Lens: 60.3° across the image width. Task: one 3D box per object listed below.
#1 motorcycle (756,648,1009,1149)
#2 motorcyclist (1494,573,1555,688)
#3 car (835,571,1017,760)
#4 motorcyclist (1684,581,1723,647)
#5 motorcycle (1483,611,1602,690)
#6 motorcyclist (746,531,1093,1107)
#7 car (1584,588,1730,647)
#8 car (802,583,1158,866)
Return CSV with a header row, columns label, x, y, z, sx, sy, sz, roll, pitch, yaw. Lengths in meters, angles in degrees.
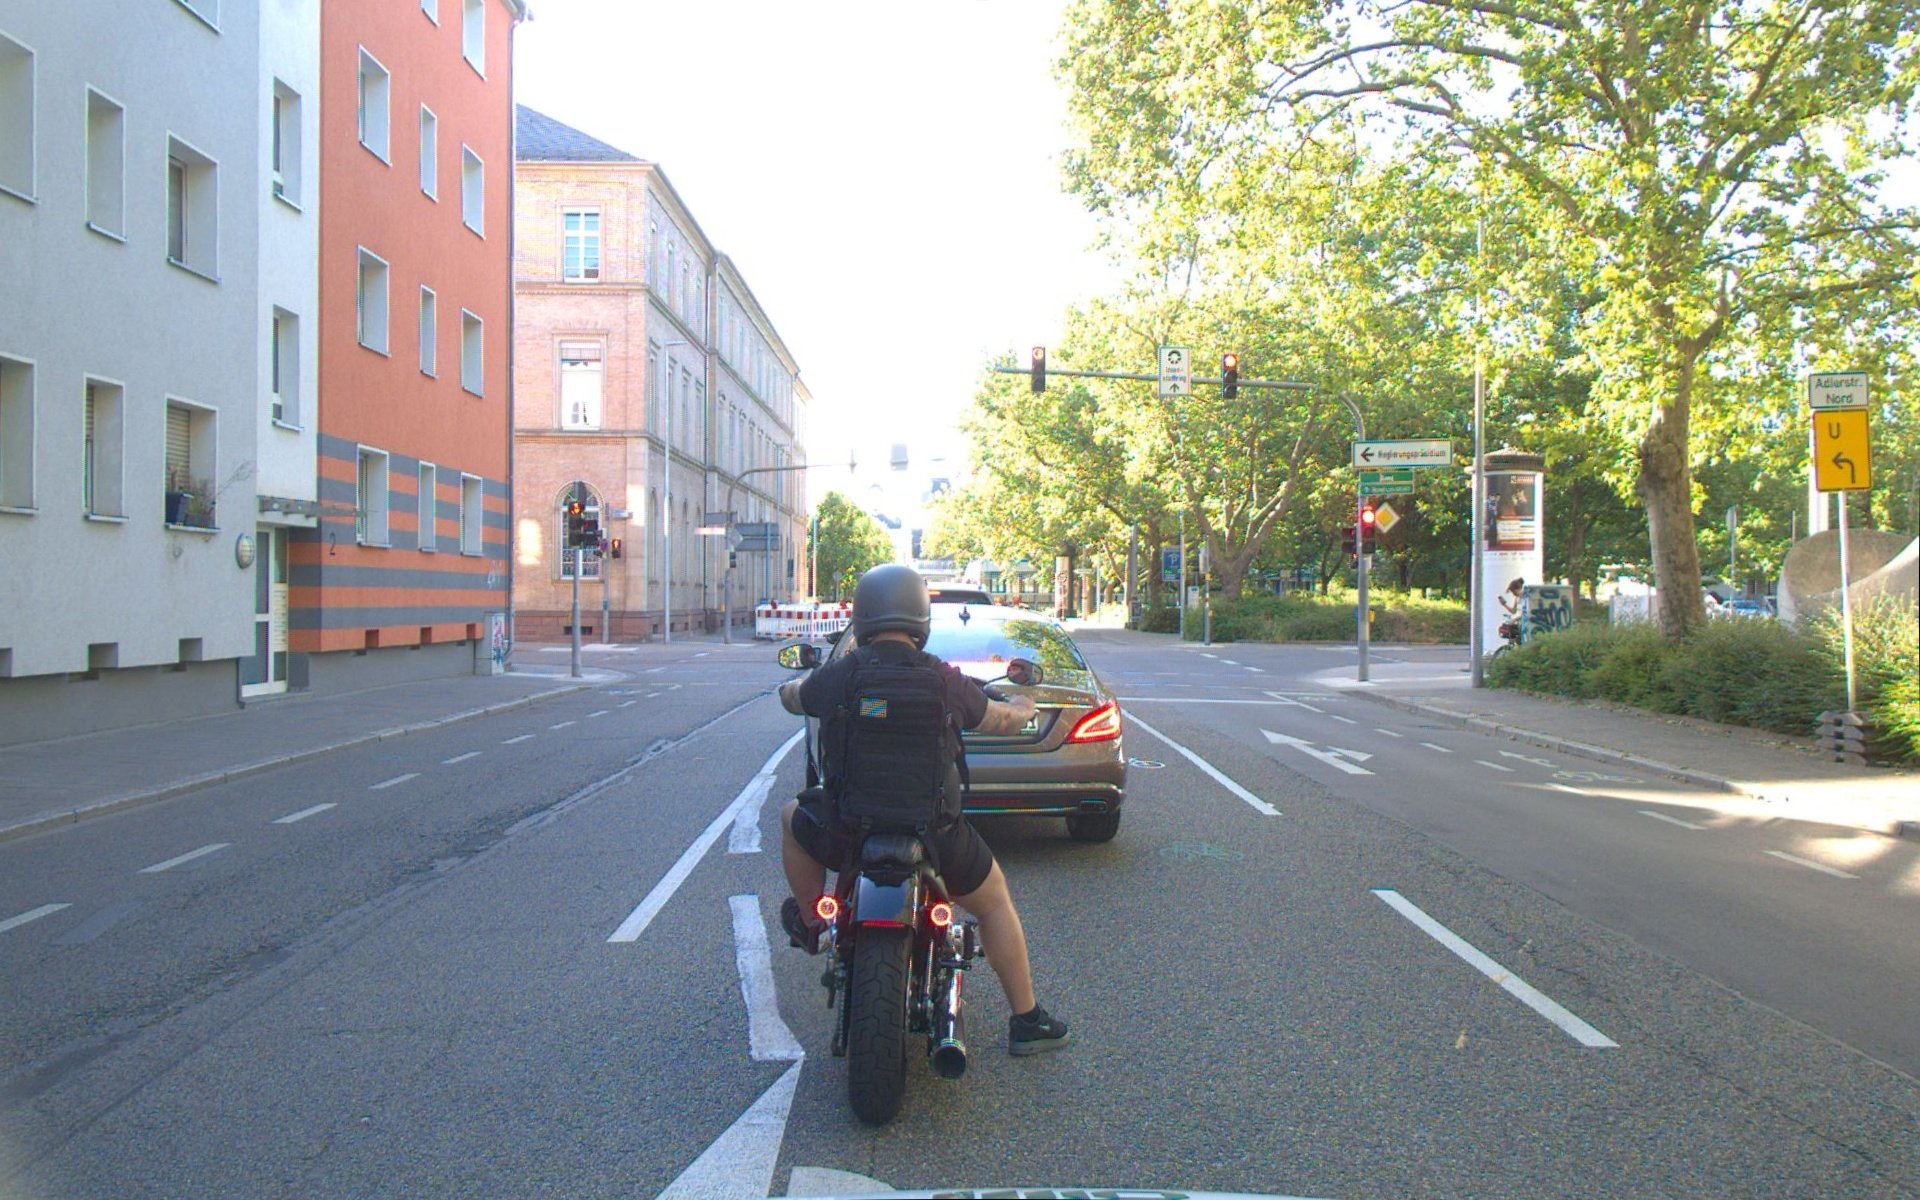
label,x,y,z,sx,sy,sz,roll,pitch,yaw
motorcycle,-0.219,0.818,5.398,0.646,1.261,2.057,1,0,-1
motorcyclist,9.486,0.507,27.816,0.805,1.896,0.672,1,-1,4
car,-0.330,0.602,16.951,1.618,1.681,3.999,1,0,-1
motorcyclist,21.644,0.409,48.125,0.962,1.909,0.376,0,-1,3
motorcycle,9.777,0.839,27.805,1.743,1.265,0.723,1,0,4
motorcyclist,-0.123,0.631,5.308,0.970,1.639,1.120,1,0,-1
car,21.994,0.540,52.275,3.907,1.803,1.737,0,0,-3
car,-0.085,0.686,11.108,1.790,1.512,4.326,1,0,-7
